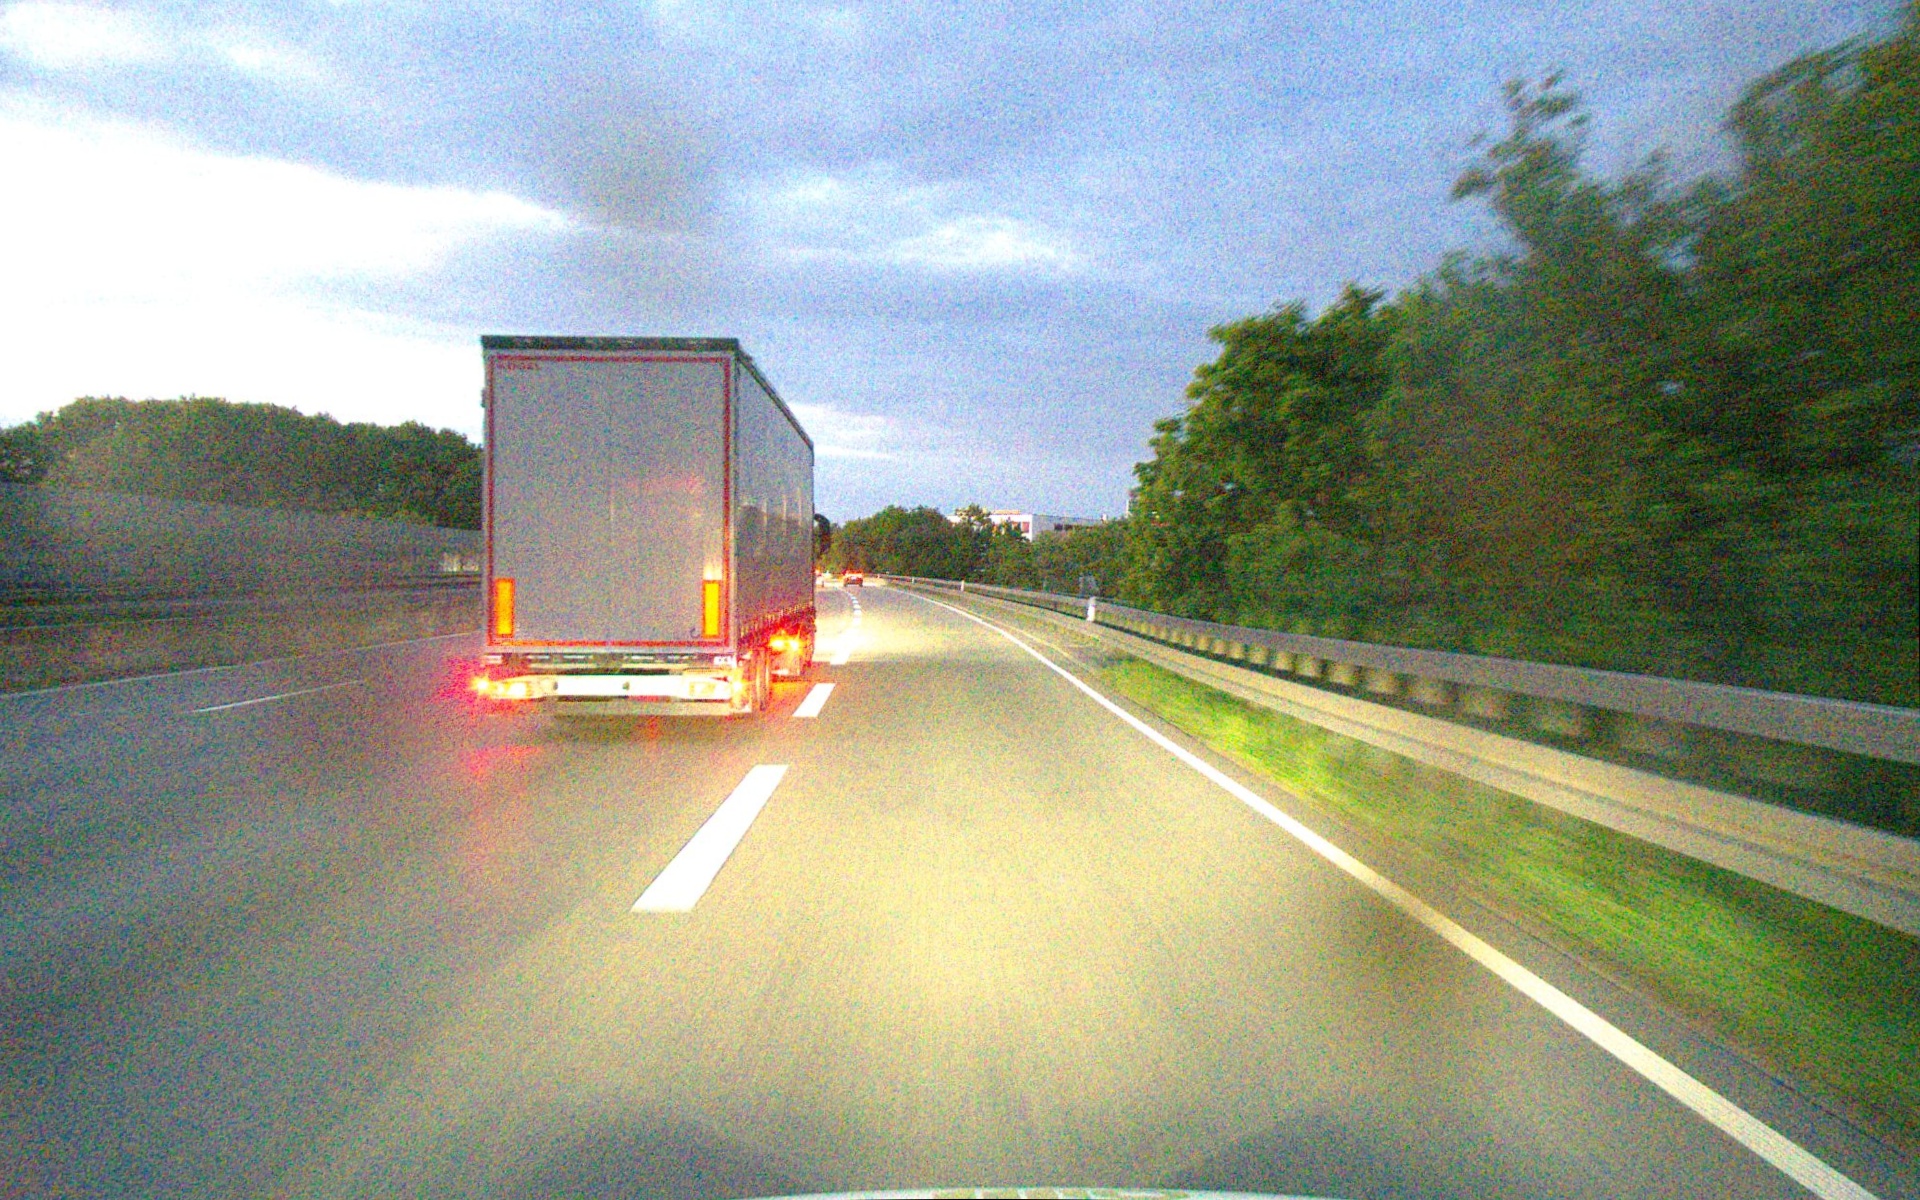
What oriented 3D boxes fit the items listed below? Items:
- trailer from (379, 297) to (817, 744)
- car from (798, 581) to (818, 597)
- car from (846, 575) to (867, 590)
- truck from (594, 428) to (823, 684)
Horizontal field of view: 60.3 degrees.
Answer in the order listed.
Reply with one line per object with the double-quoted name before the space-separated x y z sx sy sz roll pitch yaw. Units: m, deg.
"trailer" -4.047 -0.736 23.104 3.479 4.188 15.054 0 0 -3
"car" -14.746 -1.092 160.449 1.848 1.378 3.995 1 -2 -5
"car" -10.485 -1.763 167.443 1.955 1.378 3.995 1 -2 -6
"truck" -4.344 -0.713 30.026 3.479 4.163 6.148 0 0 -3
